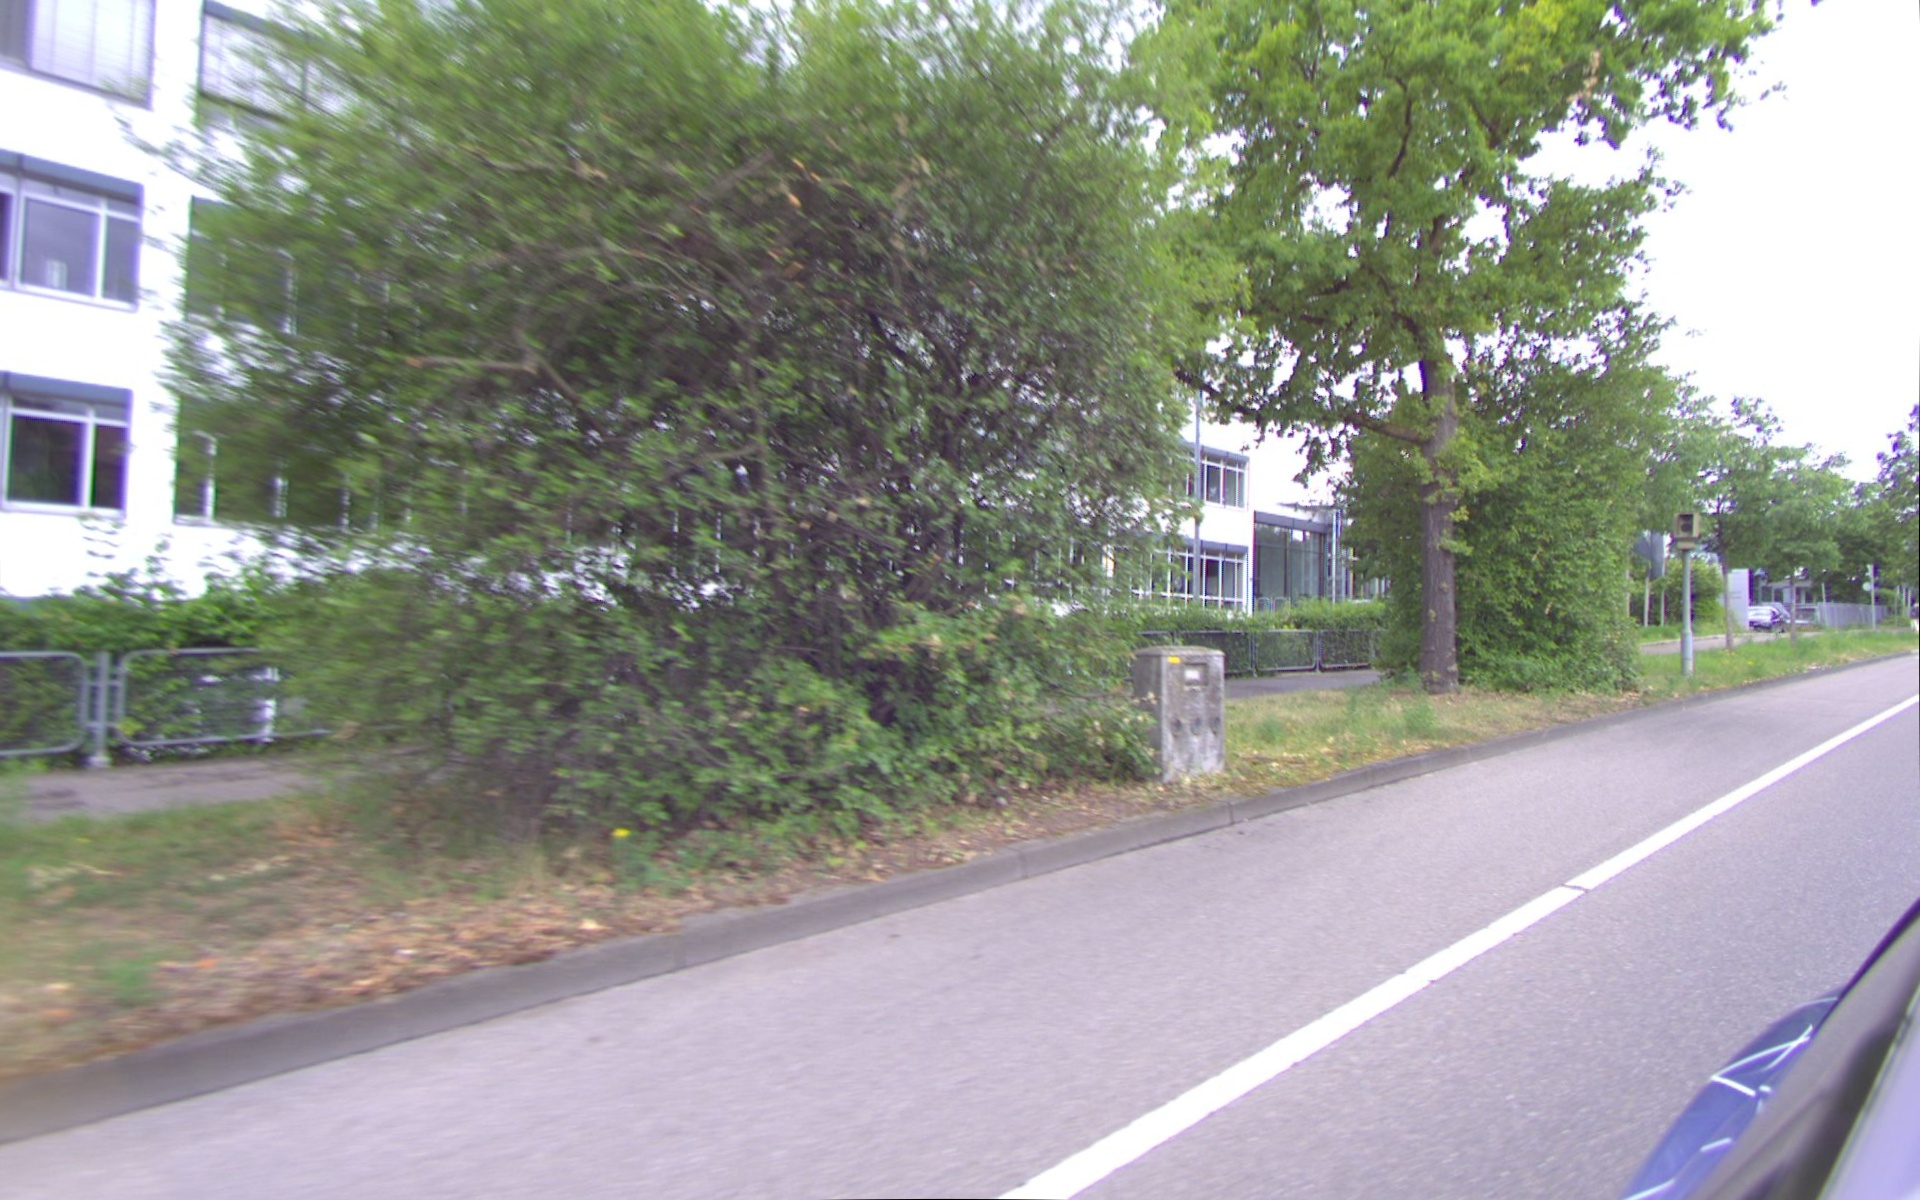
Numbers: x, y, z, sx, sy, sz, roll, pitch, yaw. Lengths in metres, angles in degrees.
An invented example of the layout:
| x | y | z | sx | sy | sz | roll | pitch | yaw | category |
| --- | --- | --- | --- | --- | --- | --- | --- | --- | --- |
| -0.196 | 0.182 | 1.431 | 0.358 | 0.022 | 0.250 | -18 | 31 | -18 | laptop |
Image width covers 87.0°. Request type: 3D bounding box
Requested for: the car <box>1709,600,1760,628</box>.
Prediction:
| x | y | z | sx | sy | sz | roll | pitch | yaw | category |
| --- | --- | --- | --- | --- | --- | --- | --- | --- | --- |
| 67.949 | 1.234 | 88.832 | 2.087 | 2.304 | 4.457 | 1 | -1 | 17 | car |

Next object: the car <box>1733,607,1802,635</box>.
| x | y | z | sx | sy | sz | roll | pitch | yaw | category |
| --- | --- | --- | --- | --- | --- | --- | --- | --- | --- |
| 42.337 | 1.105 | 53.001 | 4.892 | 1.435 | 1.850 | 1 | -2 | -40 | car |

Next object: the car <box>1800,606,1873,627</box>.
| x | y | z | sx | sy | sz | roll | pitch | yaw | category |
| --- | --- | --- | --- | --- | --- | --- | --- | --- | --- |
| 70.111 | 1.351 | 81.010 | 1.786 | 1.467 | 4.182 | 3 | -4 | -41 | car |

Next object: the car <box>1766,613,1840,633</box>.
| x | y | z | sx | sy | sz | roll | pitch | yaw | category |
| --- | --- | --- | --- | --- | --- | --- | --- | --- | --- |
| 65.427 | 1.813 | 78.587 | 1.786 | 1.467 | 4.182 | 3 | -4 | -41 | car |
